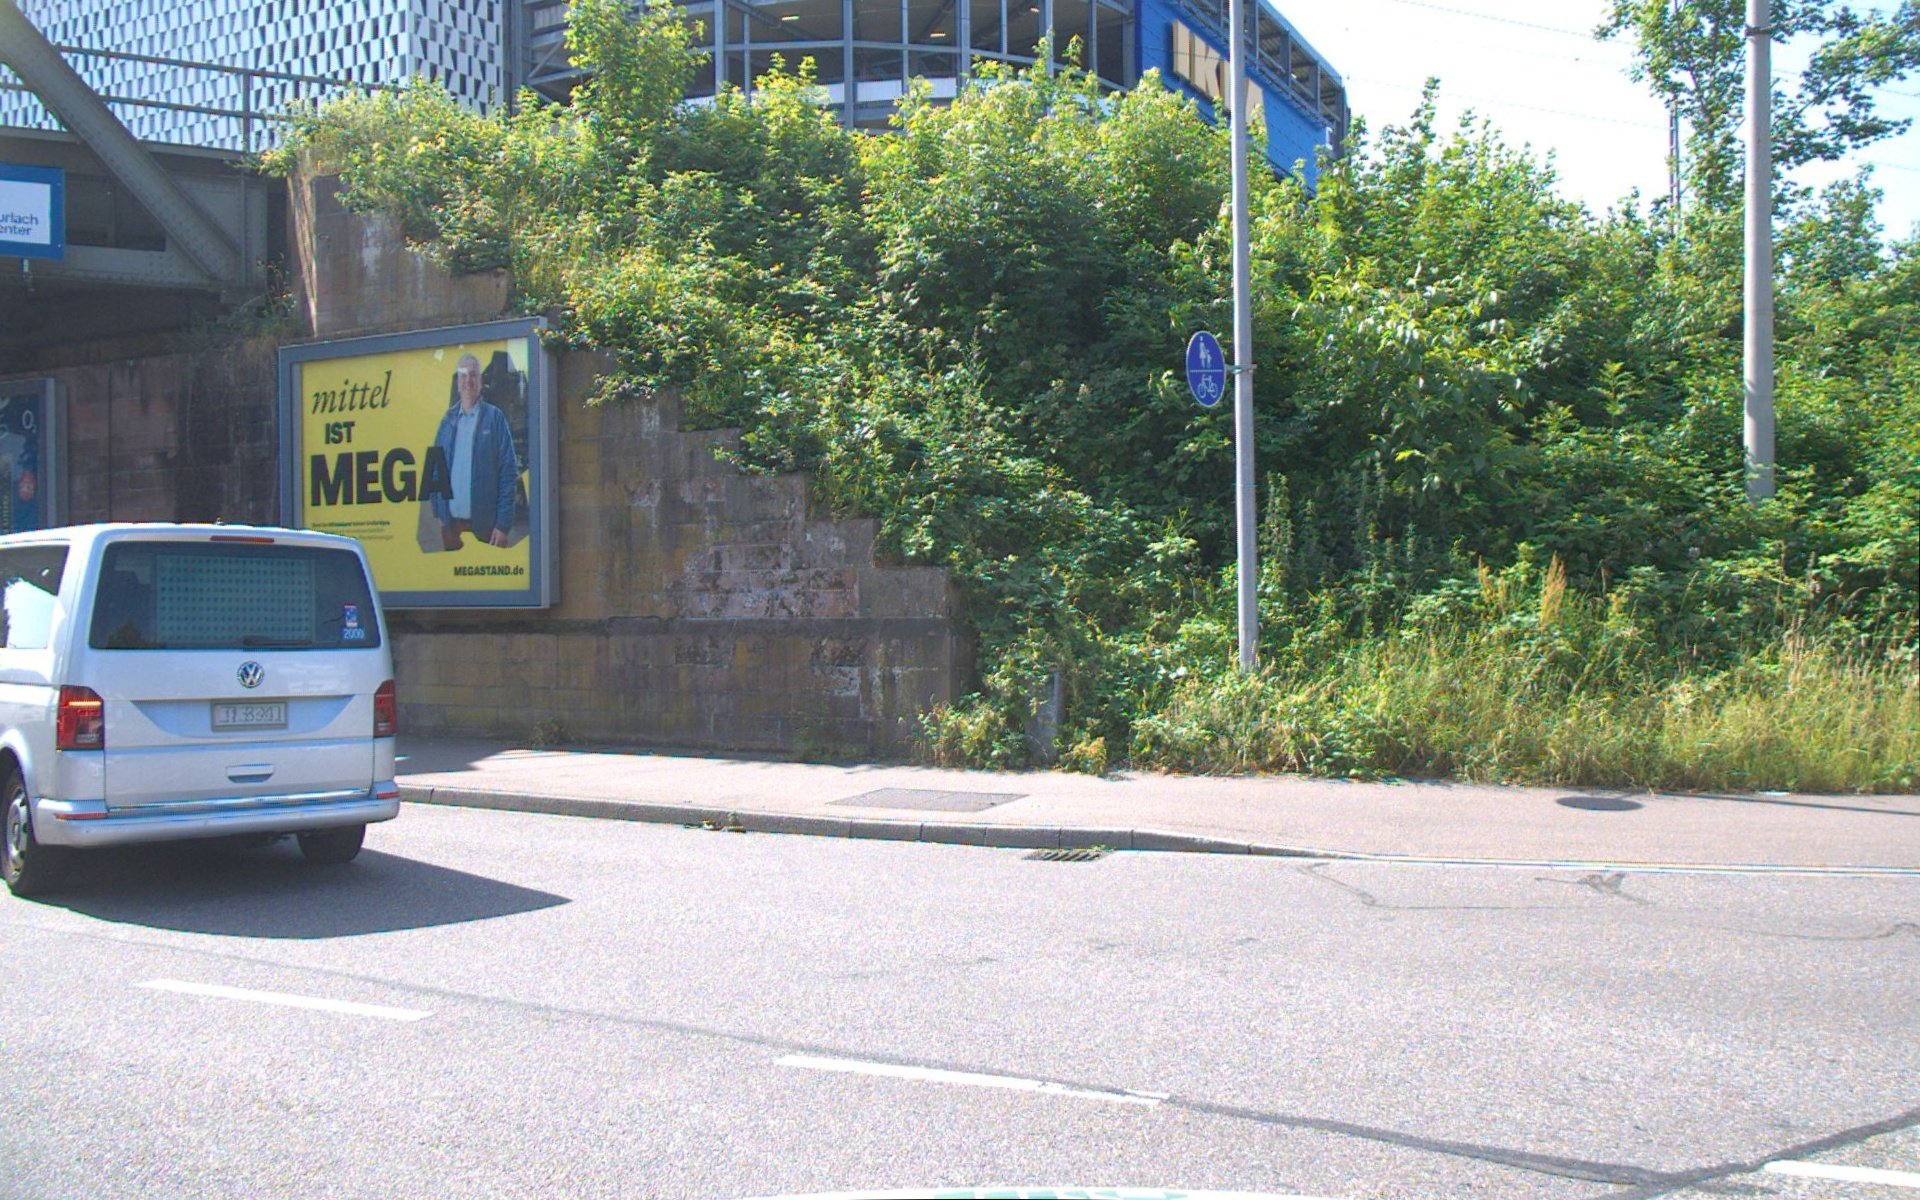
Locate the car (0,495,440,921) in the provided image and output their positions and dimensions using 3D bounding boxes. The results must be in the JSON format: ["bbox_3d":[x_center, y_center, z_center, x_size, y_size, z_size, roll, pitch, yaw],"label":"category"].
[{"bbox_3d":[-5.238,0.555,10.284,1.932,2.006,4.943,1,-1,-43],"label":"car"}]
